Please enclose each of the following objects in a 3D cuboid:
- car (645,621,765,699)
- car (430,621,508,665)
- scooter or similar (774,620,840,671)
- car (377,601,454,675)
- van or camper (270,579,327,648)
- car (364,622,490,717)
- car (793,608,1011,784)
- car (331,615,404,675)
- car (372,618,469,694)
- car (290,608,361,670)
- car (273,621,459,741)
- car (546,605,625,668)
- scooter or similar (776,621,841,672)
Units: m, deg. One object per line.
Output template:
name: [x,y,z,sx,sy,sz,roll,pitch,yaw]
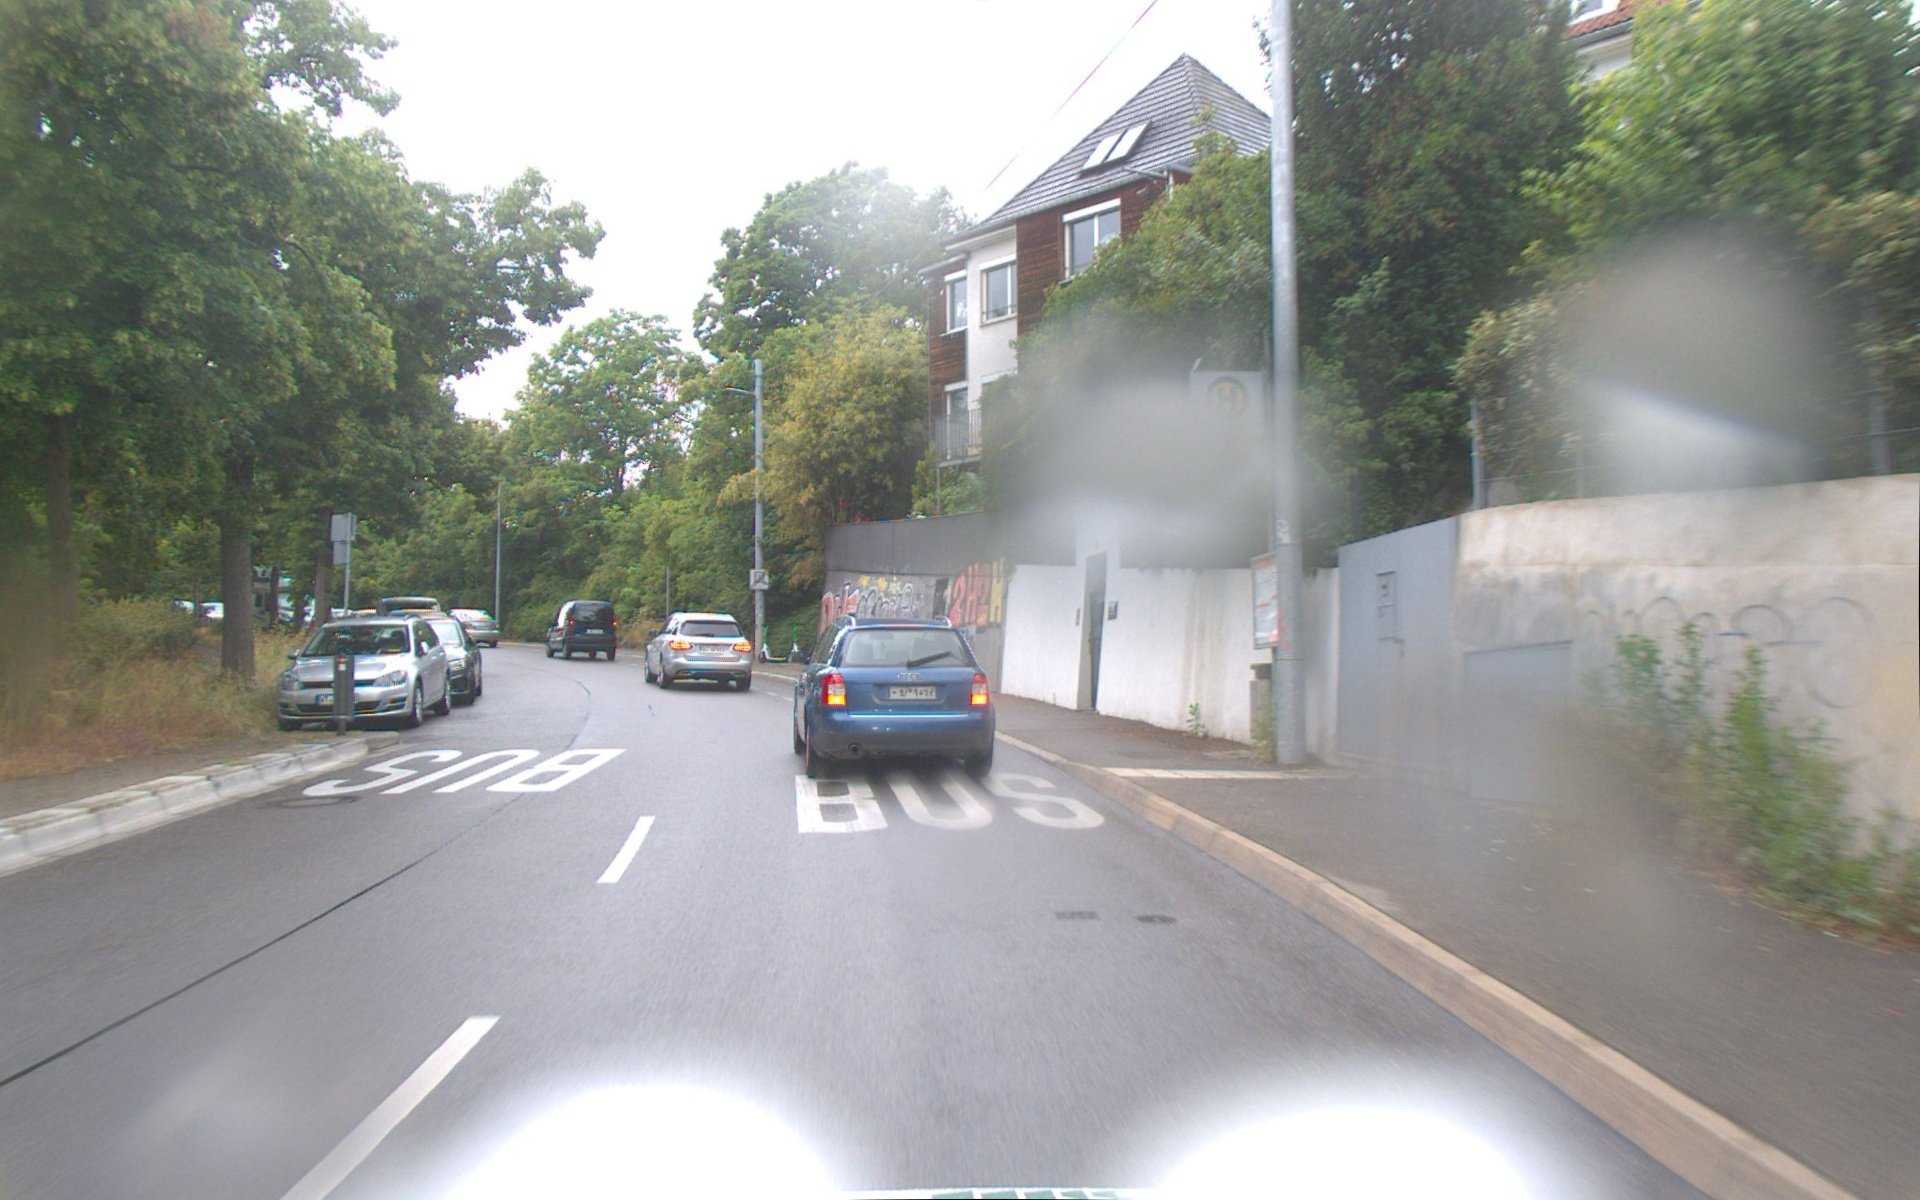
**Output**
car: [-5.203,1.178,33.358,1.877,1.413,4.332,3,-2,-15]
car: [-19.222,1.681,64.666,1.752,1.597,3.979,-1,-1,-35]
scooter or similar: [-4.477,1.346,48.343,1.800,1.338,0.598,5,-4,-9]
car: [-14.826,1.008,44.904,1.810,1.876,3.878,-1,0,-20]
van or camper: [-26.889,0.565,67.204,1.759,2.698,3.954,-1,-1,-27]
car: [-8.998,1.120,28.177,1.645,1.452,3.987,-1,0,-13]
car: [-0.688,0.847,16.109,1.743,1.464,3.993,-1,-1,-7]
car: [-18.907,1.406,52.695,1.967,1.758,3.971,-2,0,-23]
car: [-11.293,1.139,34.832,1.646,1.452,3.985,-1,0,-14]
car: [-22.302,1.337,58.076,1.969,2.049,3.966,-1,-1,-26]
car: [-8.120,1.048,22.936,1.643,1.452,3.992,-1,0,-9]
car: [-12.110,1.167,53.329,1.708,1.927,4.025,-1,0,-24]
scooter or similar: [-4.488,1.386,48.992,1.800,1.338,0.598,5,-4,-9]
